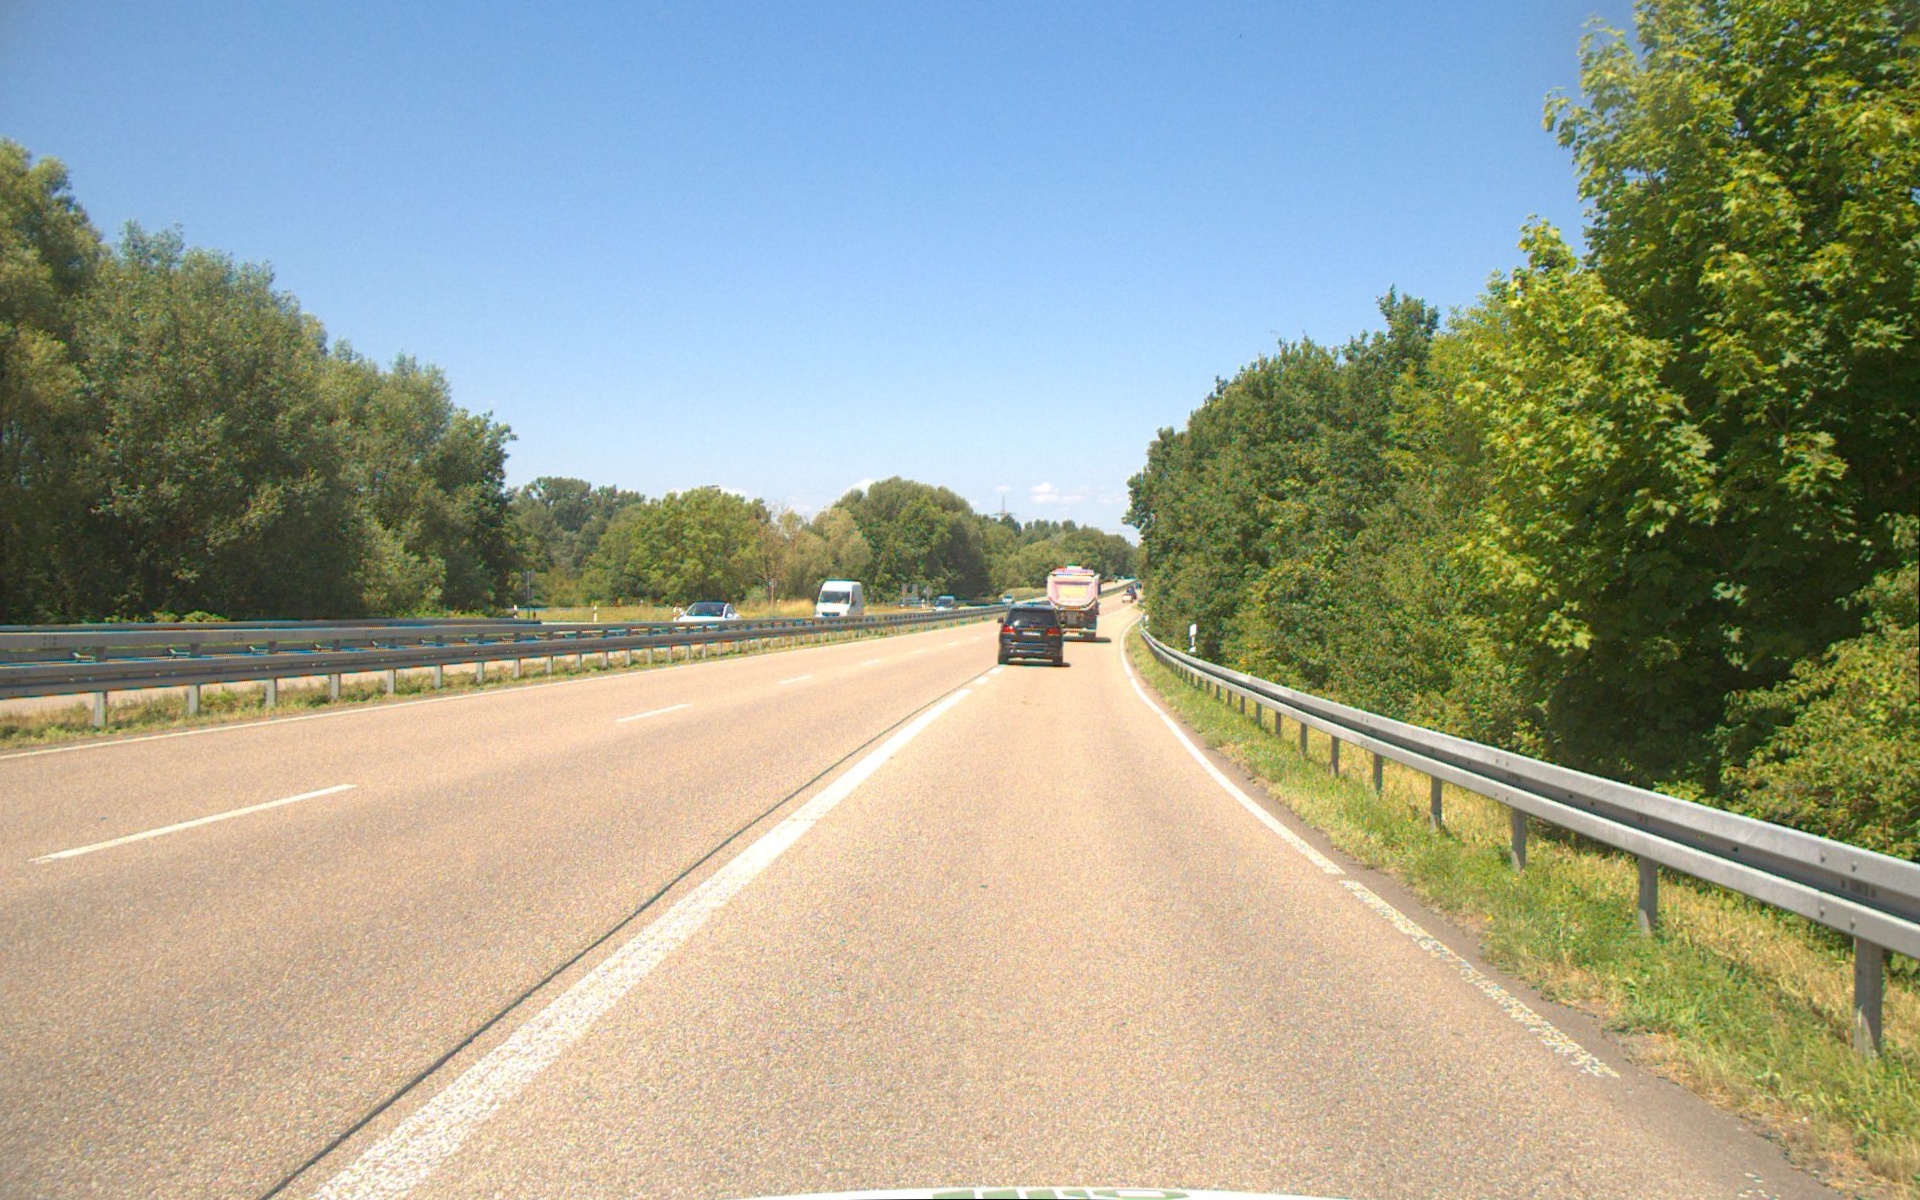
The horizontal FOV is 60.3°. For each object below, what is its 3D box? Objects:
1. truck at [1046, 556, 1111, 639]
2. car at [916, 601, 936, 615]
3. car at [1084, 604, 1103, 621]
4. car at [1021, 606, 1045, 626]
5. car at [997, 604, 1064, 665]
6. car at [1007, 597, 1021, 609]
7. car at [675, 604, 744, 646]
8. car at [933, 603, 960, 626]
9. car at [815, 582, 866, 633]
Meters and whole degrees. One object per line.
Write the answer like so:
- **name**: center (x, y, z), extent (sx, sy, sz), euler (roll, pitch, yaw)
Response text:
- **truck**: center (6.302, -0.253, 86.470), extent (2.662, 3.998, 12.381), euler (1, 1, 7)
- **car**: center (-3.538, 0.848, 174.504), extent (1.878, 1.515, 4.001), euler (1, 0, 2)
- **car**: center (14.047, 1.277, 173.827), extent (1.818, 1.700, 4.003), euler (1, 0, 7)
- **car**: center (6.636, 1.449, 149.698), extent (1.818, 1.700, 4.003), euler (1, 0, 7)
- **car**: center (2.132, 0.989, 48.977), extent (1.818, 1.700, 4.002), euler (1, 0, 4)
- **car**: center (8.269, 0.478, 252.491), extent (1.687, 1.673, 4.947), euler (2, 0, 7)
- **car**: center (-9.571, 0.940, 63.450), extent (1.878, 1.515, 4.001), euler (1, 0, 2)
- **car**: center (-1.089, 1.182, 138.694), extent (1.824, 1.862, 4.662), euler (1, 0, 5)
- **car**: center (-6.708, 0.454, 93.446), extent (2.058, 2.730, 6.630), euler (1, 0, 3)
